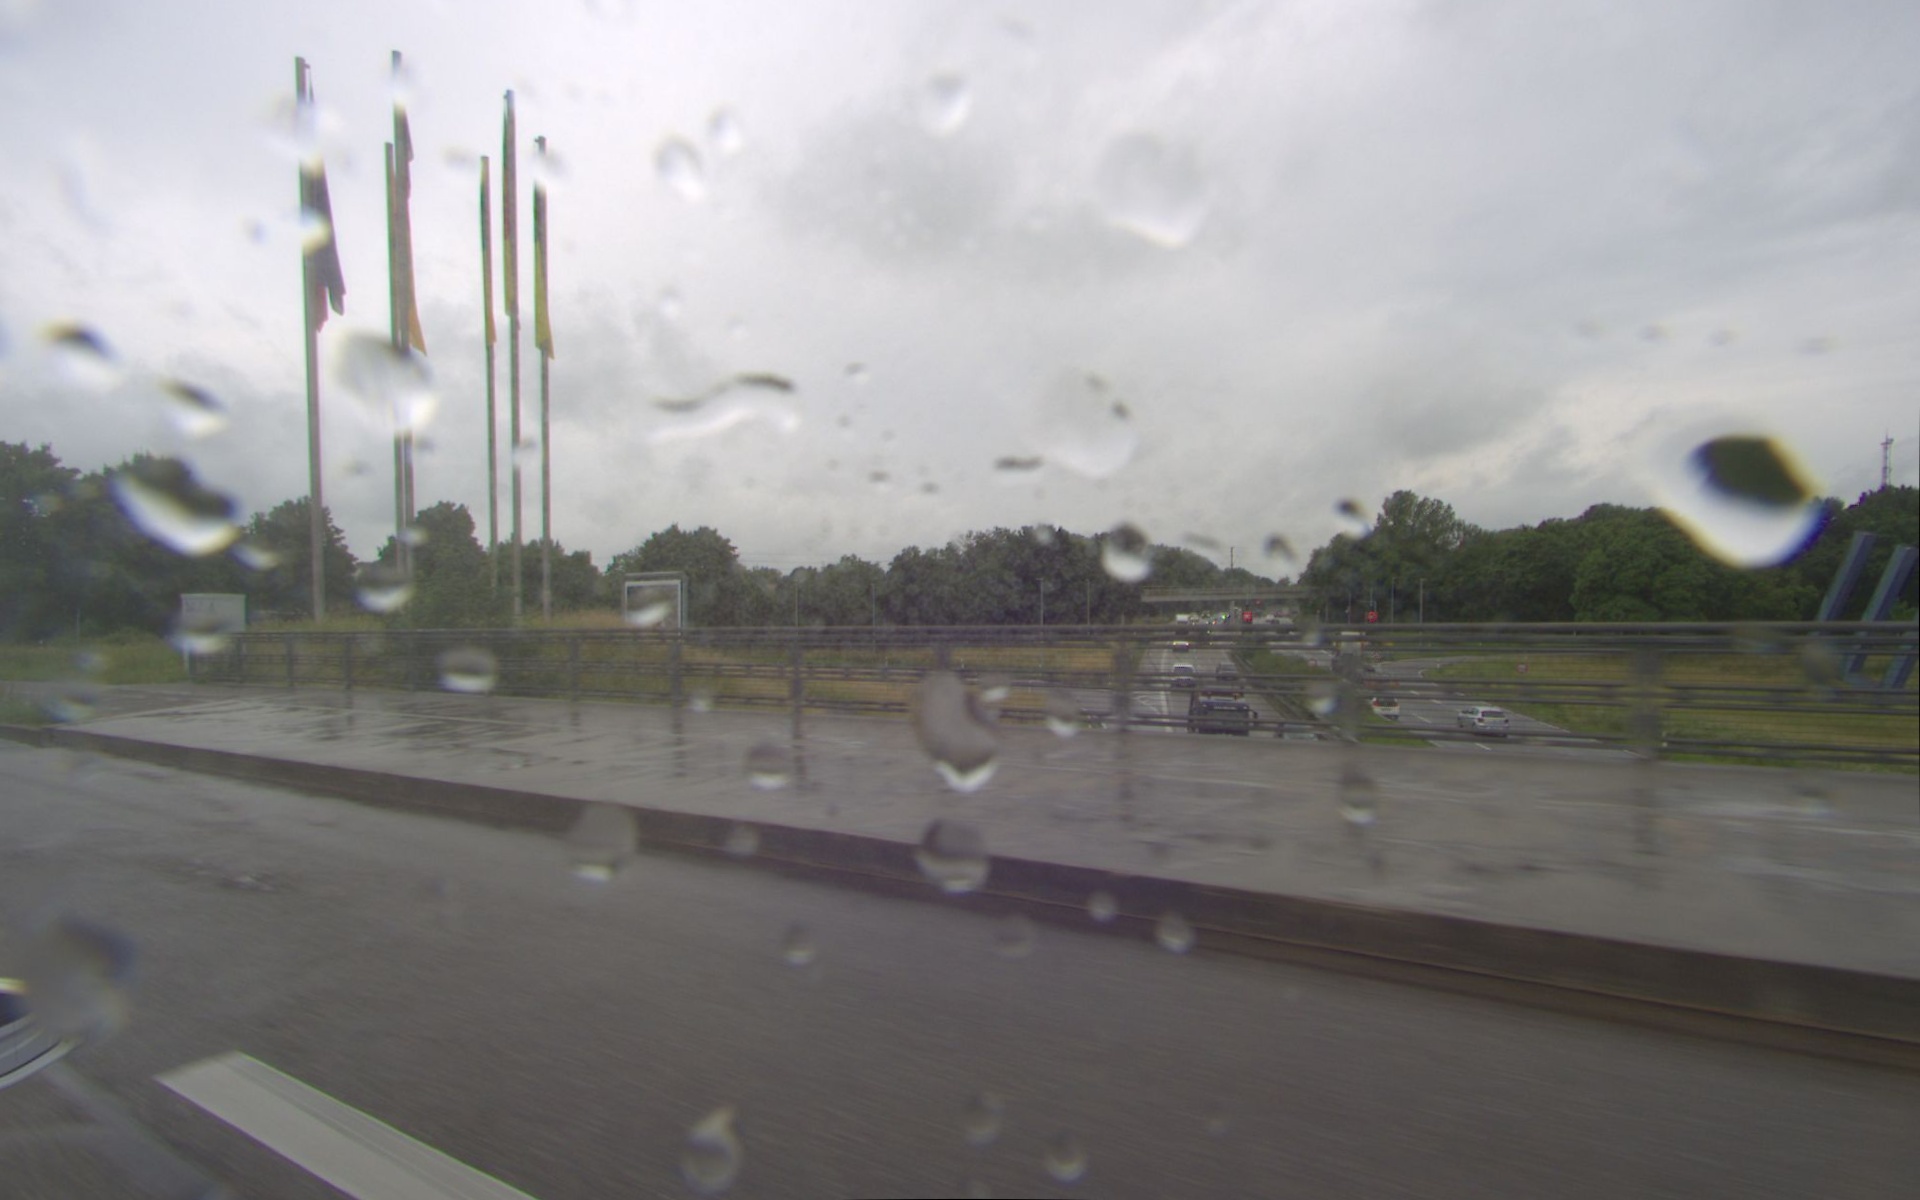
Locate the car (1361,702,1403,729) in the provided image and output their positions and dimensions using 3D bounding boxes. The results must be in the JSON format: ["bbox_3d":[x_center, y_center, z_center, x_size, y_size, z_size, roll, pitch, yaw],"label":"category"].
[{"bbox_3d":[26.007,7.114,61.861,1.550,1.252,3.321,-1,0,7],"label":"car"}]

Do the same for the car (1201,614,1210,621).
[{"bbox_3d":[62.041,4.465,252.784,1.893,1.740,3.994,1,0,17],"label":"car"}]

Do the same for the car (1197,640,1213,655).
[{"bbox_3d":[32.021,6.185,130.990,1.963,1.720,4.739,-1,0,15],"label":"car"}]

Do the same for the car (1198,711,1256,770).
[{"bbox_3d":[12.169,6.354,45.975,2.255,1.990,5.616,0,-1,12],"label":"car"}]

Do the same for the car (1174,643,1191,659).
[{"bbox_3d":[27.371,6.215,123.235,1.963,1.720,4.741,-1,0,13],"label":"car"}]

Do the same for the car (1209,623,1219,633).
[{"bbox_3d":[49.810,5.452,196.238,1.963,1.962,4.739,-1,0,15],"label":"car"}]

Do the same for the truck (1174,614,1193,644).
[{"bbox_3d":[36.462,4.649,163.102,2.584,4.595,10.503,-1,0,15],"label":"truck"}]

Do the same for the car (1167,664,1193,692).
[{"bbox_3d":[17.346,6.132,79.119,1.962,1.976,3.998,0,-1,12],"label":"car"}]

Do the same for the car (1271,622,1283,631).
[{"bbox_3d":[61.320,5.089,193.579,1.963,1.613,3.996,0,-1,15],"label":"car"}]
